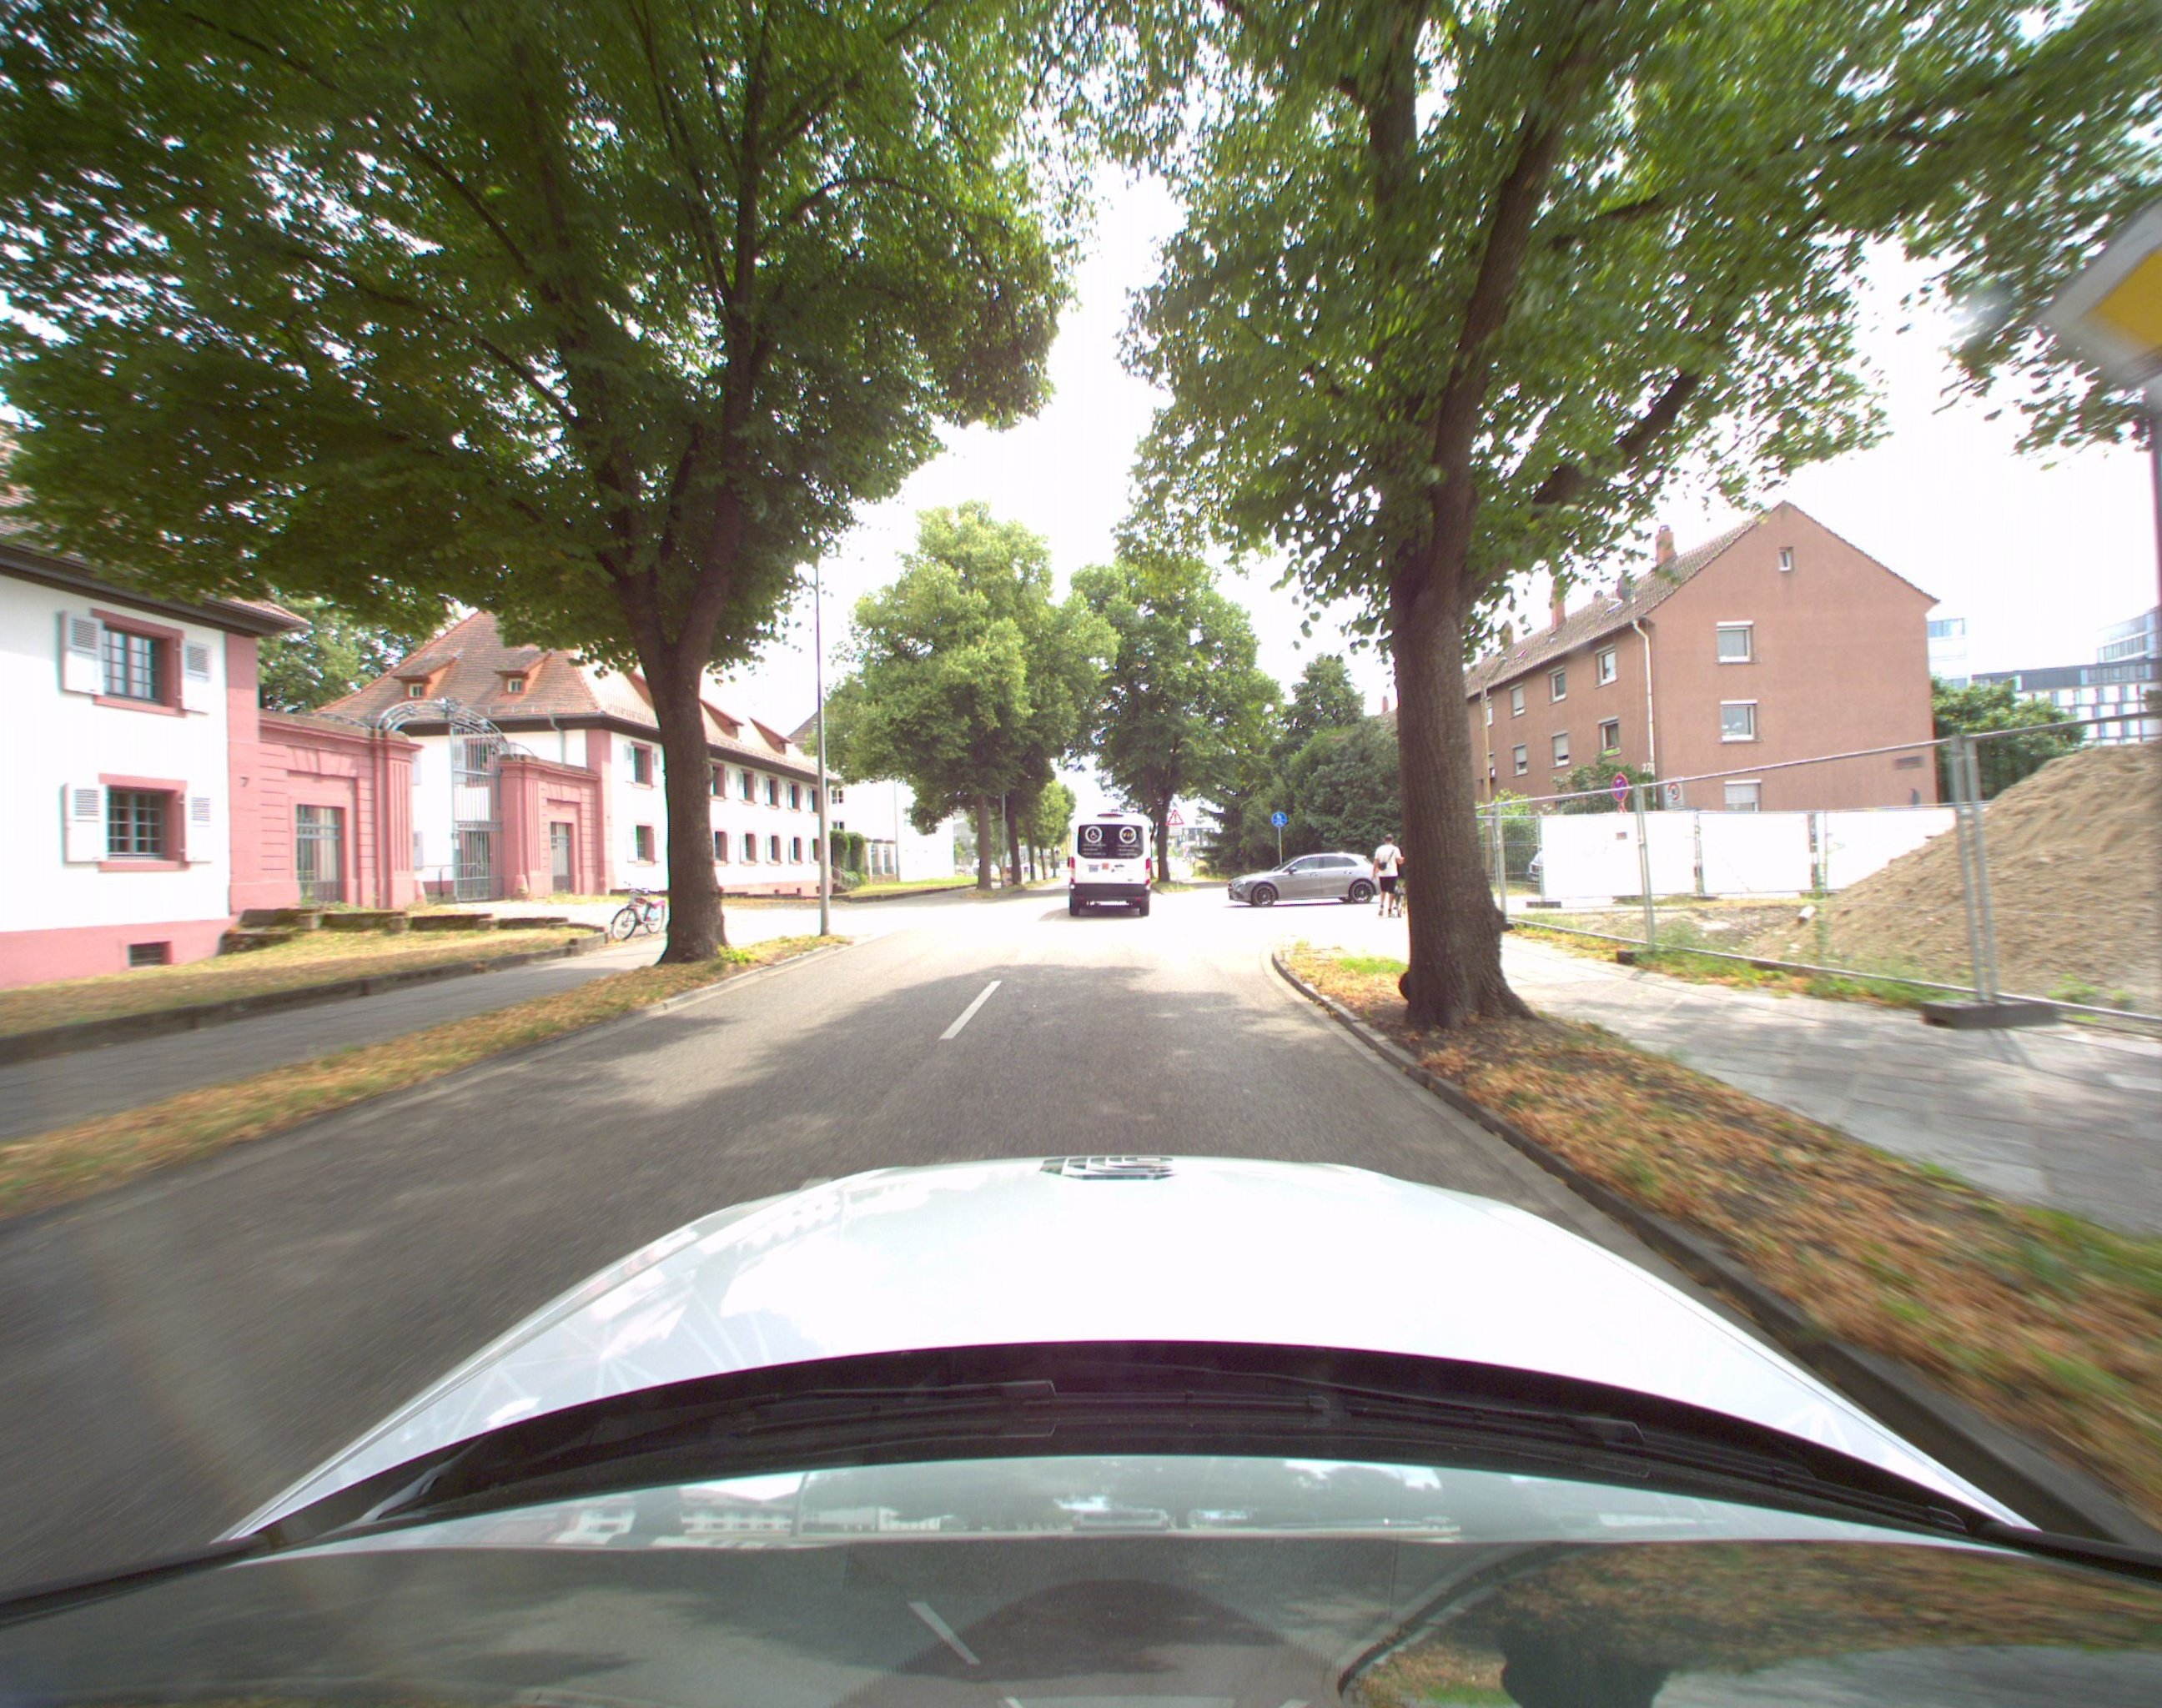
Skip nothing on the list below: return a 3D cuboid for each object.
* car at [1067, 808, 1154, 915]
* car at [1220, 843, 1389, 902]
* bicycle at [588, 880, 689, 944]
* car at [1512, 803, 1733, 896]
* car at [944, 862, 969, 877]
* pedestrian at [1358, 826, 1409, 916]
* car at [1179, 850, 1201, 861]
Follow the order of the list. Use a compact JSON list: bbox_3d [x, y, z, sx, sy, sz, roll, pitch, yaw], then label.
[{"bbox_3d":[0.673,0.231,21.279,2.057,2.540,3.997,0,-2,-1],"label":"car"},{"bbox_3d":[6.368,0.559,23.595,4.353,1.443,2.012,-3,-2,3],"label":"car"},{"bbox_3d":[-8.833,1.113,16.365,0.720,1.095,2.226,2,0,2],"label":"bicycle"},{"bbox_3d":[17.239,-0.167,26.188,5.449,2.632,2.338,-3,2,3],"label":"car"},{"bbox_3d":[-25.641,3.160,167.212,2.631,2.851,5.612,-3,-1,-36],"label":"car"},{"bbox_3d":[6.402,0.359,17.262,0.875,1.814,0.893,-4,-1,21],"label":"pedestrian"},{"bbox_3d":[20.906,0.257,156.565,1.987,1.816,4.440,-4,-1,40],"label":"car"}]
